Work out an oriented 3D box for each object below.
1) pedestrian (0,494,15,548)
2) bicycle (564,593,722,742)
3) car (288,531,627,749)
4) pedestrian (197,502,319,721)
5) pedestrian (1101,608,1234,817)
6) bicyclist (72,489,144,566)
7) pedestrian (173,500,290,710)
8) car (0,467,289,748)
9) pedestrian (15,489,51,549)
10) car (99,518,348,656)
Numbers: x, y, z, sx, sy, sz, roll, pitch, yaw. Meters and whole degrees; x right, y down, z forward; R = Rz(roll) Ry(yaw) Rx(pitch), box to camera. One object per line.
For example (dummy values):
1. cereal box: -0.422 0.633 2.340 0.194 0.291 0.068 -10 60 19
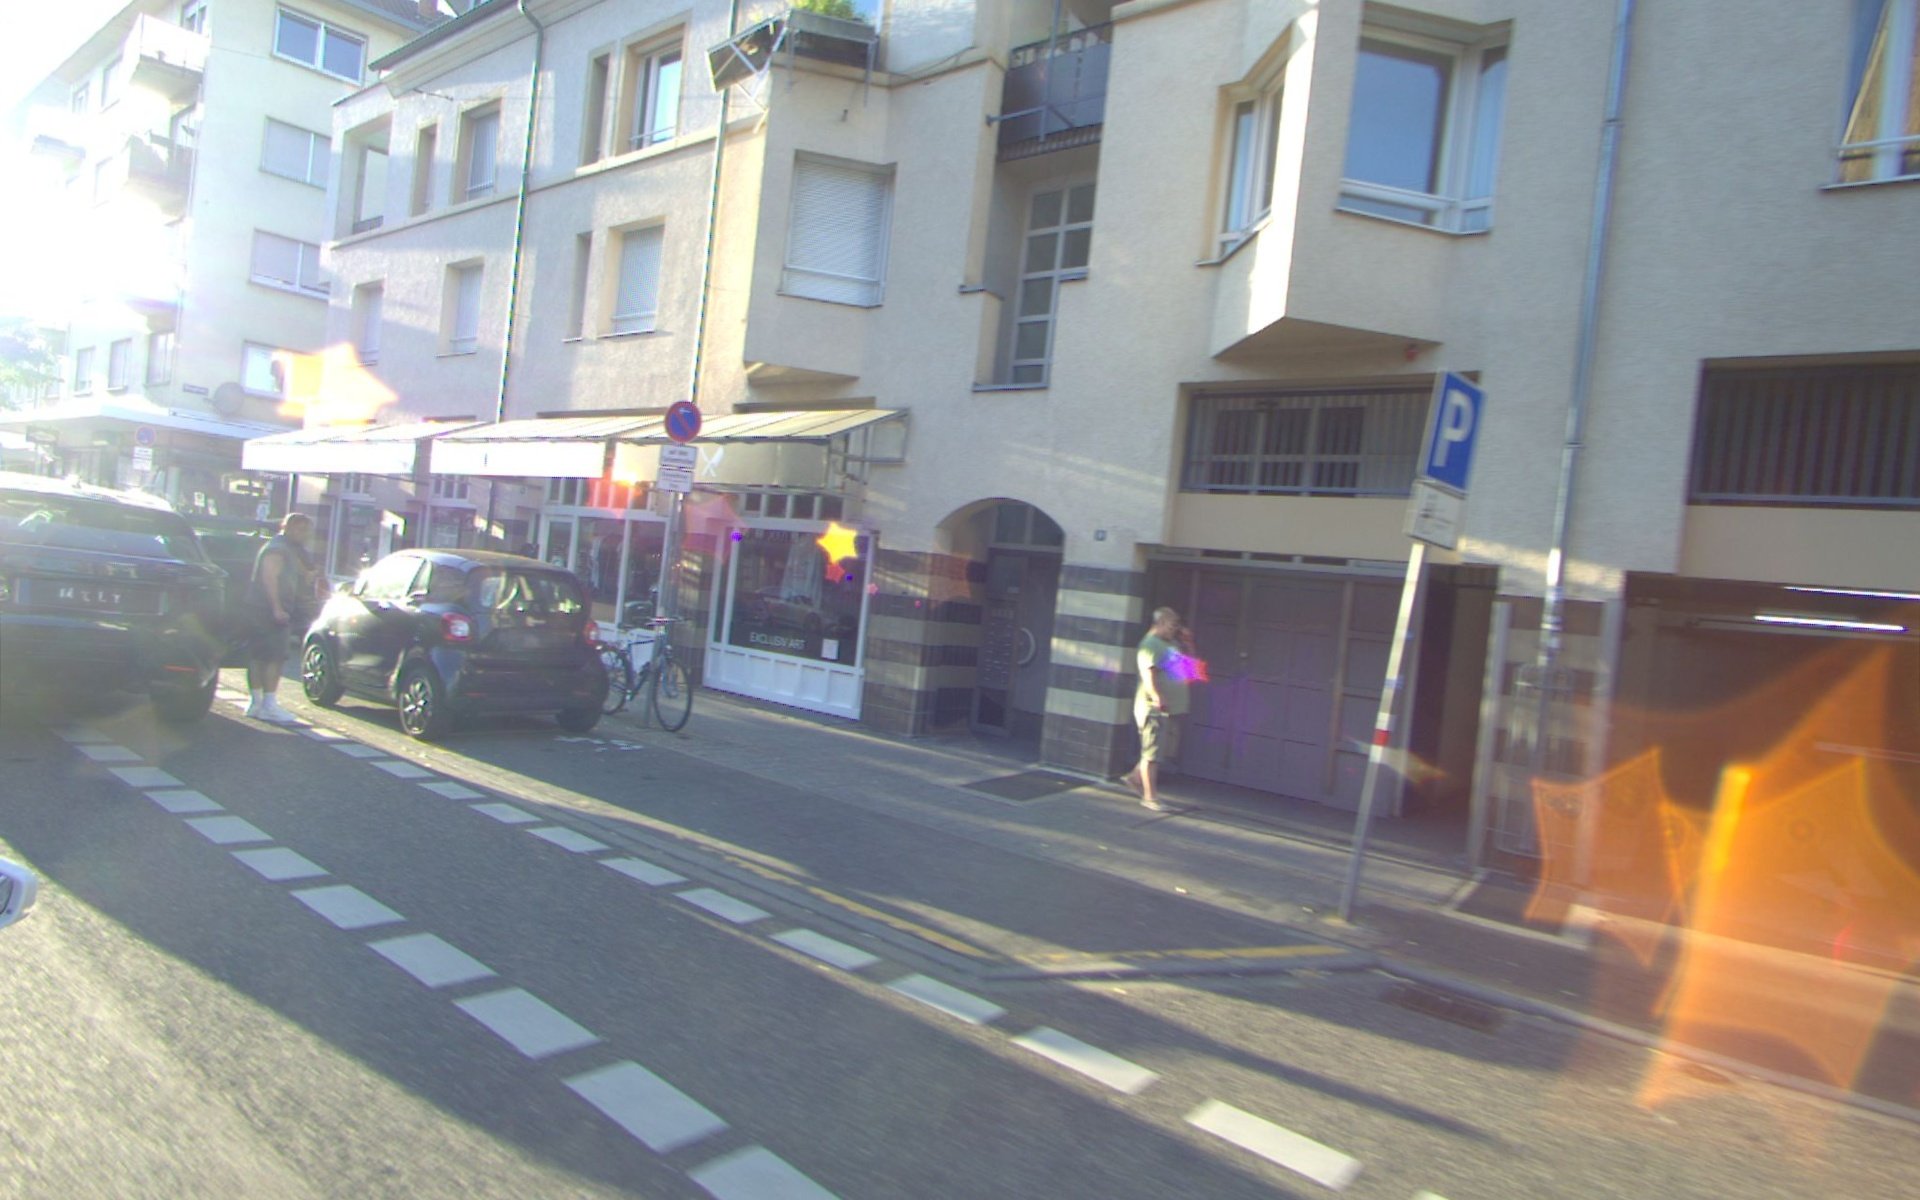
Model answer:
1. pedestrian: -29.256 -2.422 30.461 0.849 1.578 0.688 7 1 37
2. bicycle: -3.212 0.640 10.105 1.797 1.250 0.397 7 2 35
3. car: -4.646 0.310 9.273 2.652 1.573 1.633 7 1 35
4. pedestrian: -5.707 0.089 8.192 0.555 1.686 0.443 6 1 12
5. pedestrian: 1.787 0.946 8.670 0.806 1.668 0.599 4 2 -38
6. bicyclist: -21.015 -1.769 24.826 1.080 1.723 0.649 6 1 -22
7. pedestrian: -6.192 0.041 8.559 0.555 1.686 0.443 6 1 12
8. car: -7.279 -0.095 7.758 4.603 1.674 1.996 6 -2 38
9. pedestrian: -28.548 -2.485 30.974 0.707 1.744 0.686 7 2 43
10. car: -9.972 -0.206 13.538 3.700 1.442 1.632 6 1 37
